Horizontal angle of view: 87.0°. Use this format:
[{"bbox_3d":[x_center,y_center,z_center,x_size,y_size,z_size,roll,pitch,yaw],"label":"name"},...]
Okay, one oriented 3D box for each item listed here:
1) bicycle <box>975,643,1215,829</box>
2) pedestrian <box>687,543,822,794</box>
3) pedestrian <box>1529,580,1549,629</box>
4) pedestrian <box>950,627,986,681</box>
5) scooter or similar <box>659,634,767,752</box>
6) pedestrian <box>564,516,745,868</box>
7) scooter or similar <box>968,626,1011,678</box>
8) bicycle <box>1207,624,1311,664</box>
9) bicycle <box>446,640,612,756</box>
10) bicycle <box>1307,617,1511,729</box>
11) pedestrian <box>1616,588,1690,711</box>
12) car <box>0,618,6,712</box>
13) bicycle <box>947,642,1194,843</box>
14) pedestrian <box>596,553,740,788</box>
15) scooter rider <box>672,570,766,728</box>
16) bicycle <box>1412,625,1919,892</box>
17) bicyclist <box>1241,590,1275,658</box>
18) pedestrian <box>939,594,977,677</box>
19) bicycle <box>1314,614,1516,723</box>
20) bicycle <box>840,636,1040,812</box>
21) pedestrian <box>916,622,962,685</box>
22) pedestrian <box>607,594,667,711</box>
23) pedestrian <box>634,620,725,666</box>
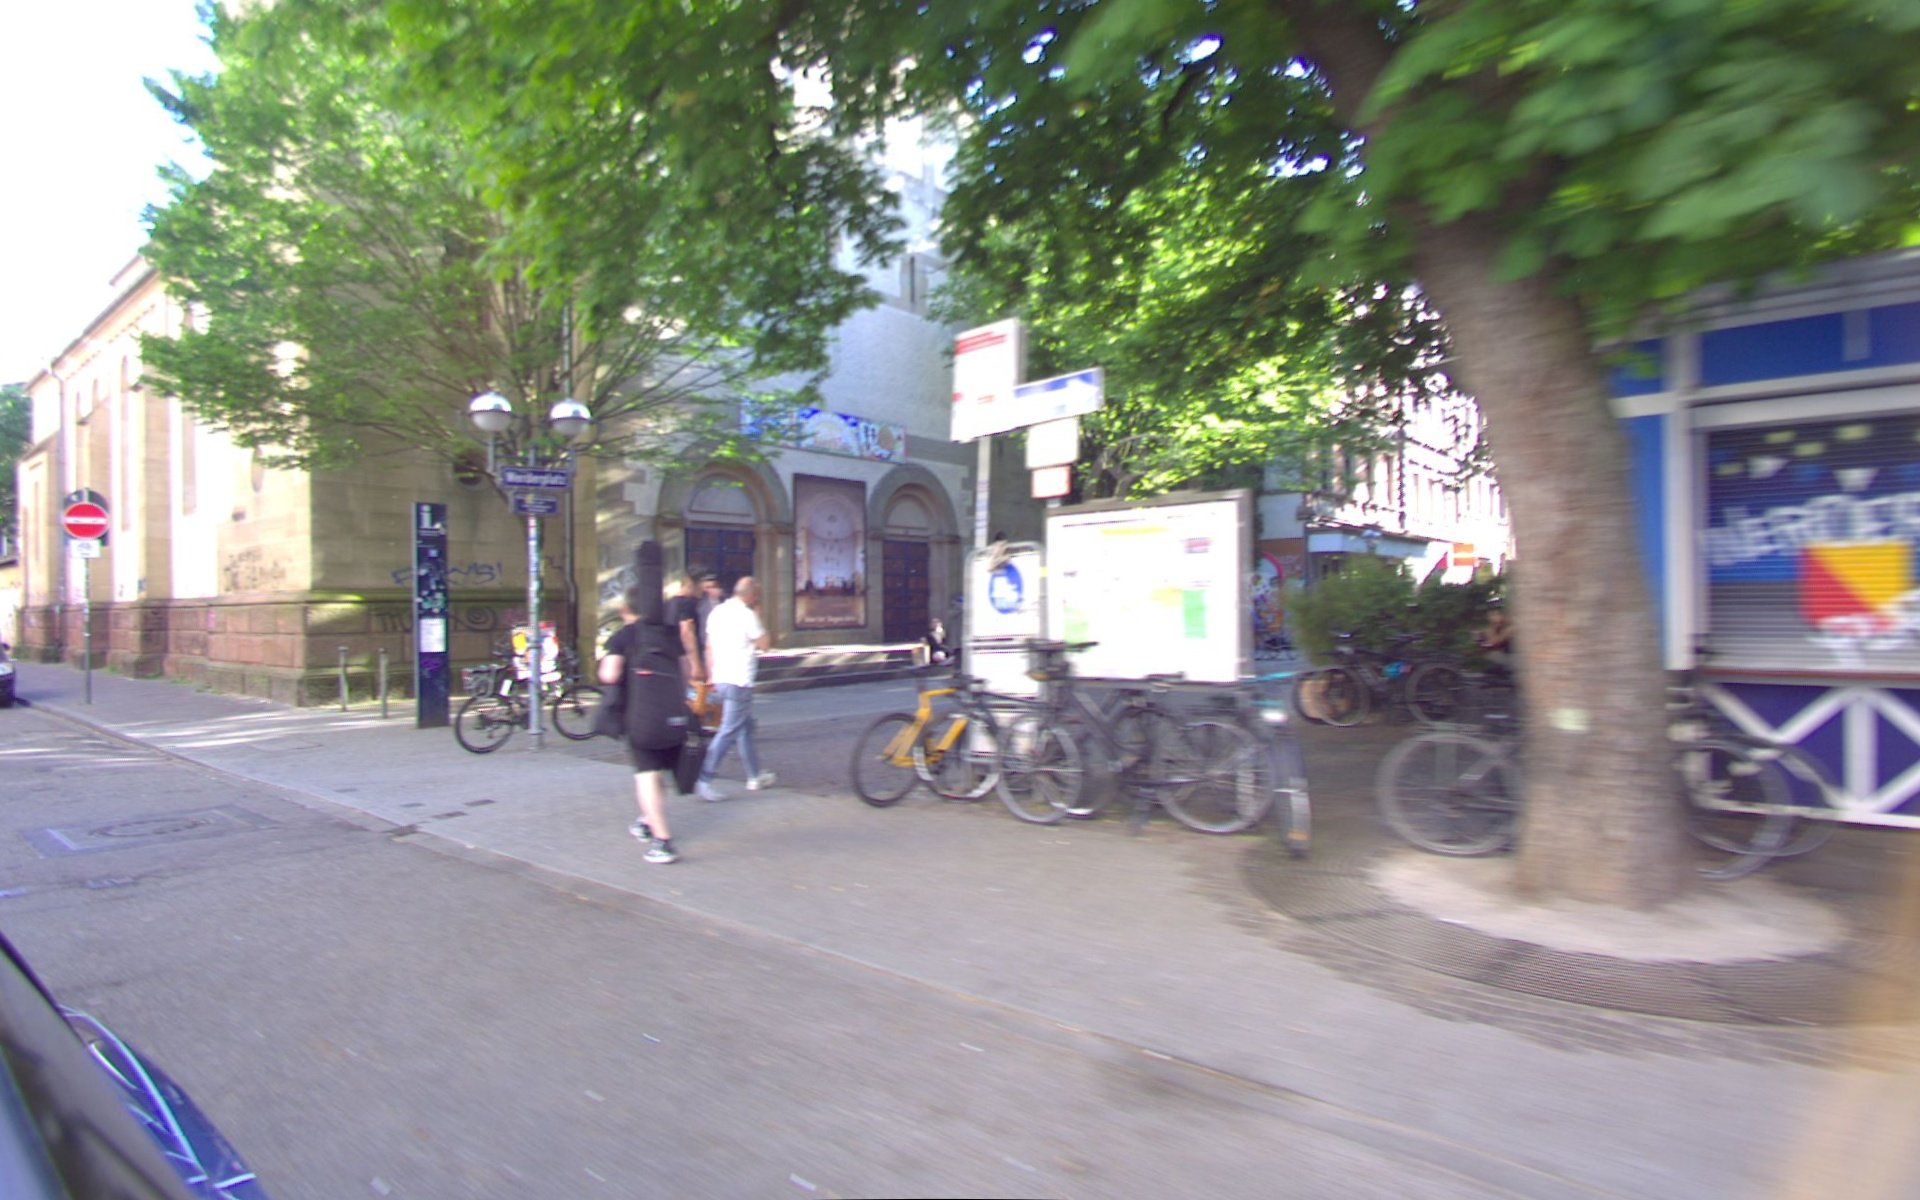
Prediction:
[{"bbox_3d":[0.811,0.812,6.437,1.577,1.054,0.289,-2,-1,40],"label":"bicycle"},{"bbox_3d":[-1.615,0.501,7.966,0.687,1.849,0.754,-1,1,38],"label":"pedestrian"},{"bbox_3d":[27.991,0.209,48.908,0.729,2.335,0.755,-1,0,36],"label":"pedestrian"},{"bbox_3d":[0.178,1.142,21.590,0.490,1.116,0.609,-1,1,39],"label":"pedestrian"},{"bbox_3d":[-2.697,0.990,11.122,0.514,1.169,1.044,-1,1,39],"label":"scooter or similar"},{"bbox_3d":[-1.787,0.490,5.930,0.719,1.887,0.709,-1,1,40],"label":"pedestrian"},{"bbox_3d":[0.609,1.050,20.782,0.721,1.013,0.506,-1,1,-39],"label":"scooter or similar"},{"bbox_3d":[7.992,1.167,27.066,2.720,0.998,0.490,-1,0,-11],"label":"bicycle"},{"bbox_3d":[-4.601,1.008,10.911,0.346,1.073,1.673,-1,1,38],"label":"bicycle"},{"bbox_3d":[4.689,0.760,10.692,1.935,1.099,0.226,-3,-1,40],"label":"bicycle"},{"bbox_3d":[7.777,0.532,11.354,0.633,1.331,0.562,-1,1,39],"label":"pedestrian"},{"bbox_3d":[-17.966,1.111,17.473,3.832,1.563,1.776,0,1,41],"label":"car"},{"bbox_3d":[0.624,0.809,6.183,1.577,1.090,0.289,-2,-1,40],"label":"bicycle"},{"bbox_3d":[-2.457,0.552,8.514,1.002,1.839,0.687,-1,1,38],"label":"pedestrian"},{"bbox_3d":[-2.638,0.510,11.090,0.719,1.660,0.680,-1,1,39],"label":"scooter rider"},{"bbox_3d":[3.393,0.720,5.060,2.027,1.139,0.494,-2,0,27],"label":"bicycle"},{"bbox_3d":[7.955,0.625,27.042,0.672,1.775,0.506,-1,0,-11],"label":"bicyclist"},{"bbox_3d":[-0.042,0.700,20.315,0.548,1.644,0.556,-1,0,28],"label":"pedestrian"},{"bbox_3d":[4.845,0.741,10.897,1.935,1.099,0.226,-4,-2,40],"label":"bicycle"},{"bbox_3d":[-0.110,0.843,7.307,1.553,1.090,0.347,-1,1,-40],"label":"bicycle"},{"bbox_3d":[-0.435,1.099,21.027,0.740,1.241,0.607,-1,1,39],"label":"pedestrian"},{"bbox_3d":[-4.557,0.723,14.276,0.713,1.605,0.474,-1,1,37],"label":"pedestrian"},{"bbox_3d":[-5.072,0.758,18.278,1.405,0.766,0.947,0,1,40],"label":"pedestrian"}]
